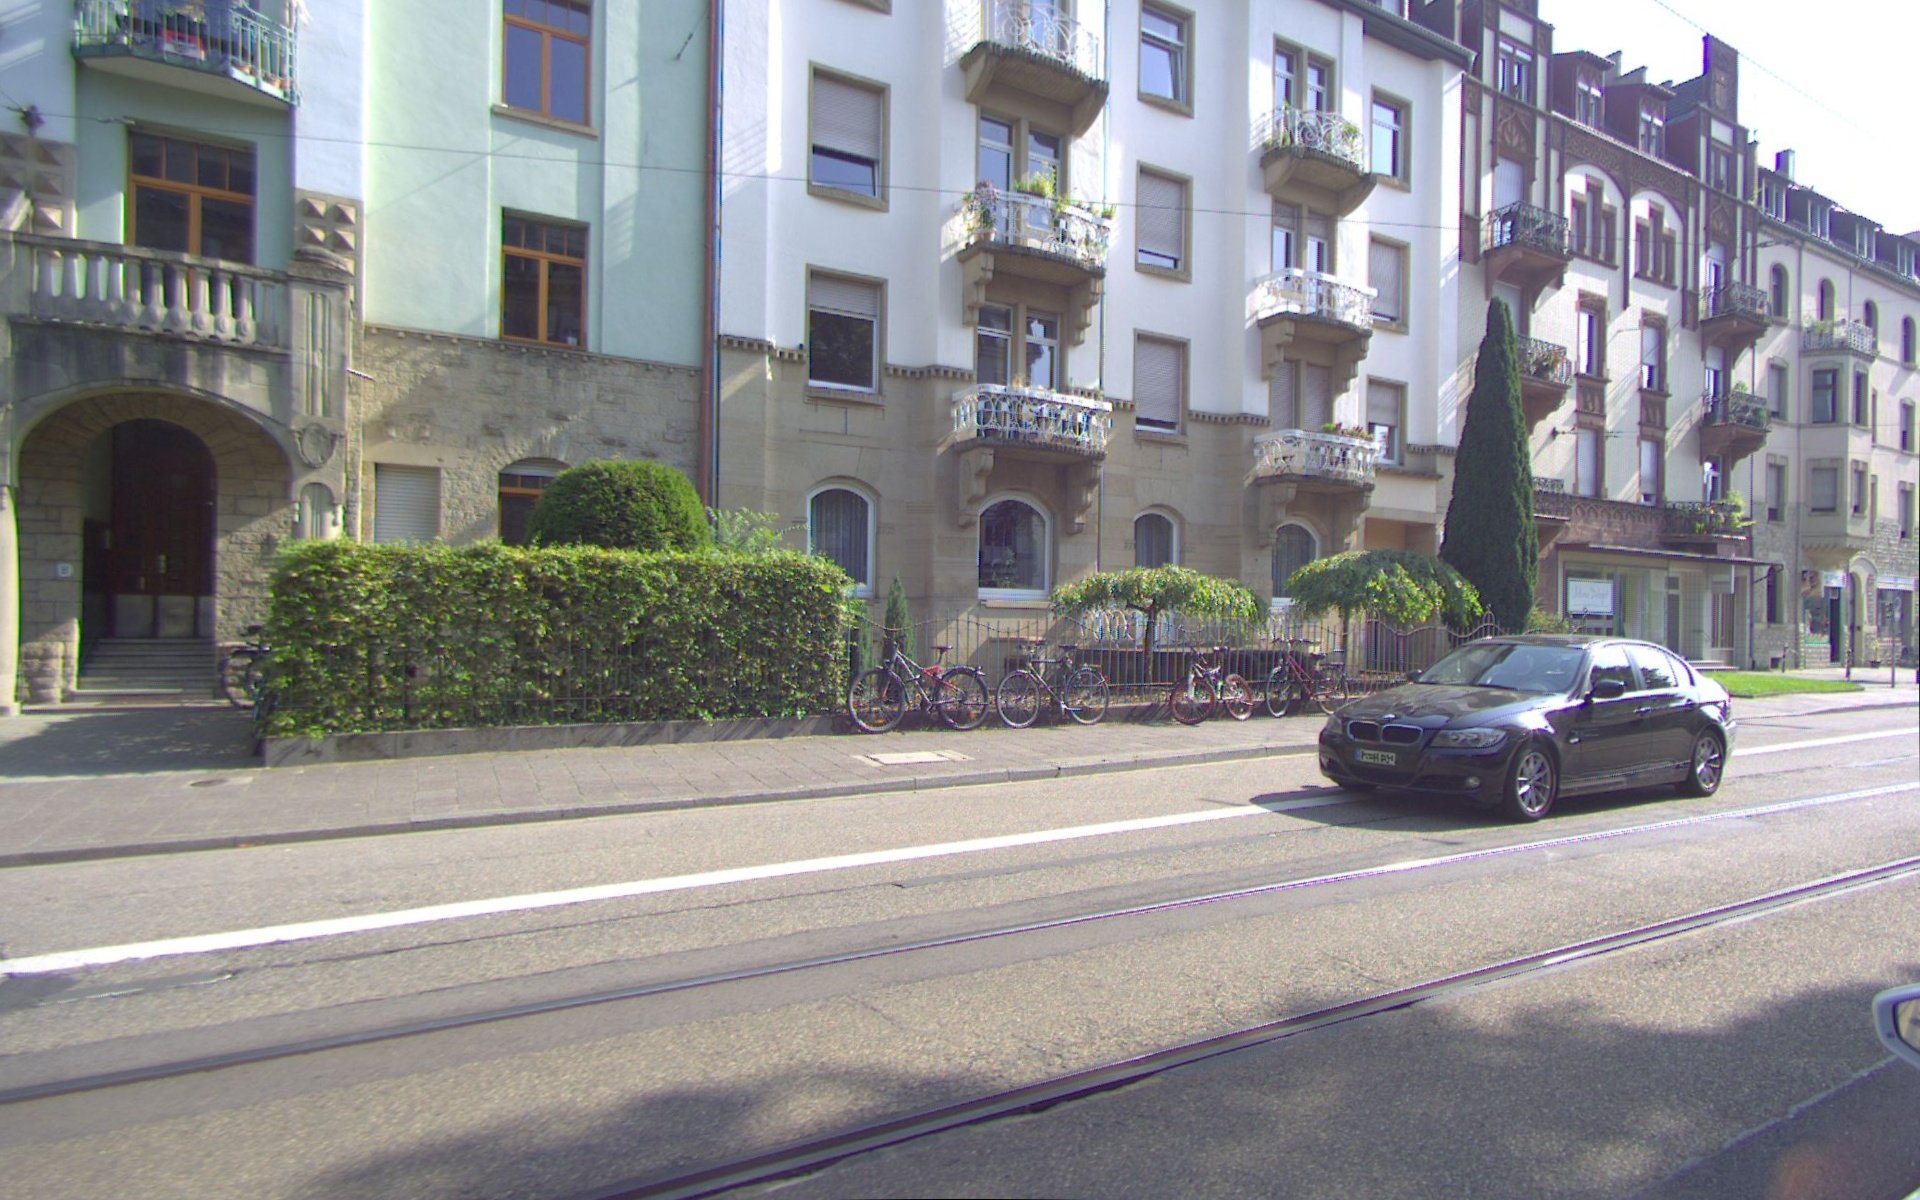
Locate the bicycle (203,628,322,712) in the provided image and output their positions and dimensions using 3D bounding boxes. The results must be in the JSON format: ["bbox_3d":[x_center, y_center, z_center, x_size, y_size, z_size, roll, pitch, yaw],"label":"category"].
[{"bbox_3d":[-8.508,0.832,12.315,0.417,0.961,1.356,1,-1,4],"label":"bicycle"}]

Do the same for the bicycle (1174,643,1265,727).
[{"bbox_3d":[3.578,1.147,13.820,1.339,1.102,0.368,1,-1,-30],"label":"bicycle"}]

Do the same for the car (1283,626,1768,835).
[{"bbox_3d":[5.162,1.003,8.983,4.592,1.421,1.688,2,0,-30],"label":"car"}]

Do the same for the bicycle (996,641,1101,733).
[{"bbox_3d":[1.127,1.077,12.626,1.339,1.102,0.368,1,-1,-30],"label":"bicycle"}]

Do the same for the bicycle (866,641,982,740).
[{"bbox_3d":[-0.418,1.045,11.809,1.339,1.102,0.368,1,-1,-30],"label":"bicycle"}]

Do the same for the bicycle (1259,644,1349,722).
[{"bbox_3d":[5.062,1.197,14.760,1.470,1.102,0.368,1,-1,-30],"label":"bicycle"}]

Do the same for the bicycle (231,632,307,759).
[{"bbox_3d":[-6.587,0.869,9.554,0.422,1.102,1.338,2,-1,-41],"label":"bicycle"}]
